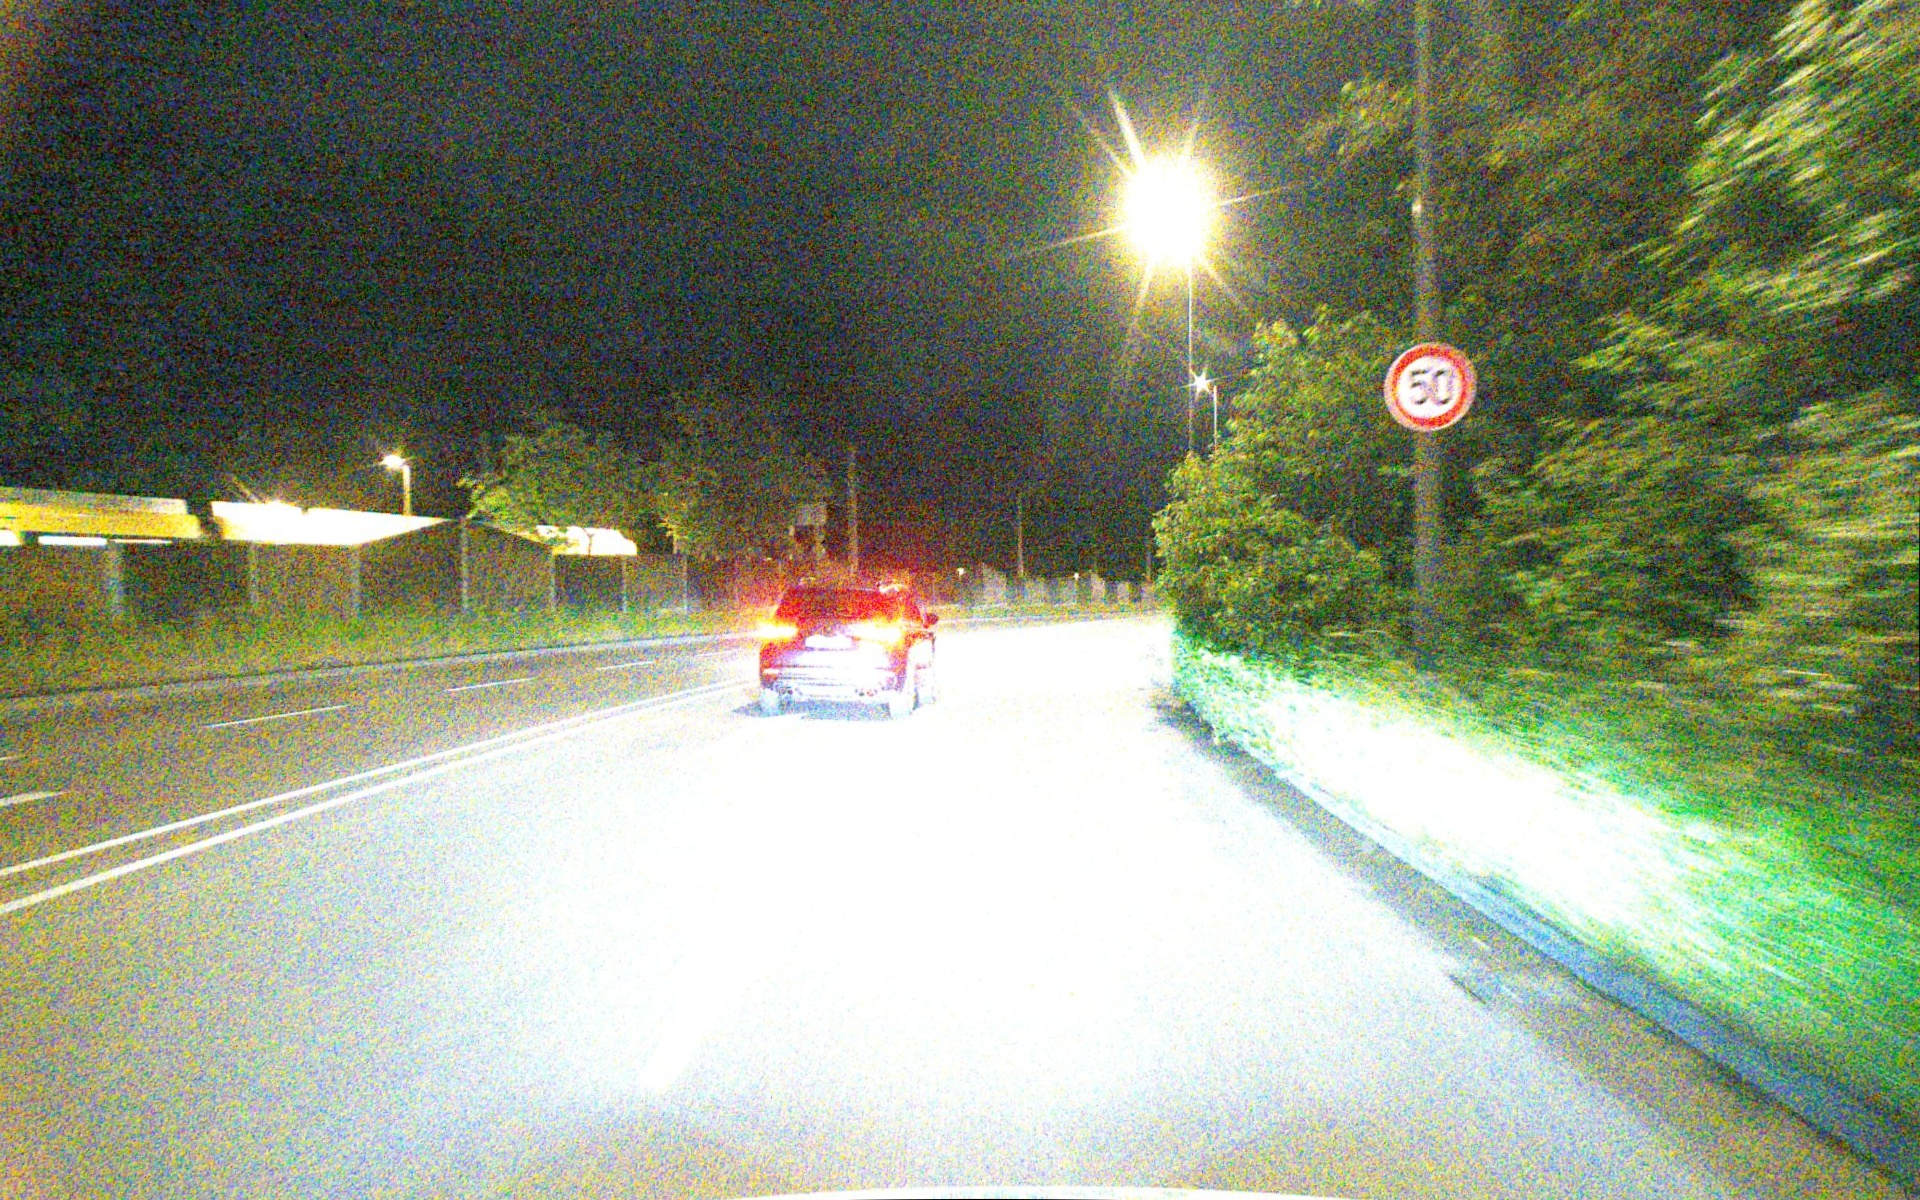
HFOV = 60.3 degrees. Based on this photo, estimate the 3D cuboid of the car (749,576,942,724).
[{"bbox_3d":[-1.307,0.546,20.437,1.776,1.601,3.946,2,0,4],"label":"car"}]
